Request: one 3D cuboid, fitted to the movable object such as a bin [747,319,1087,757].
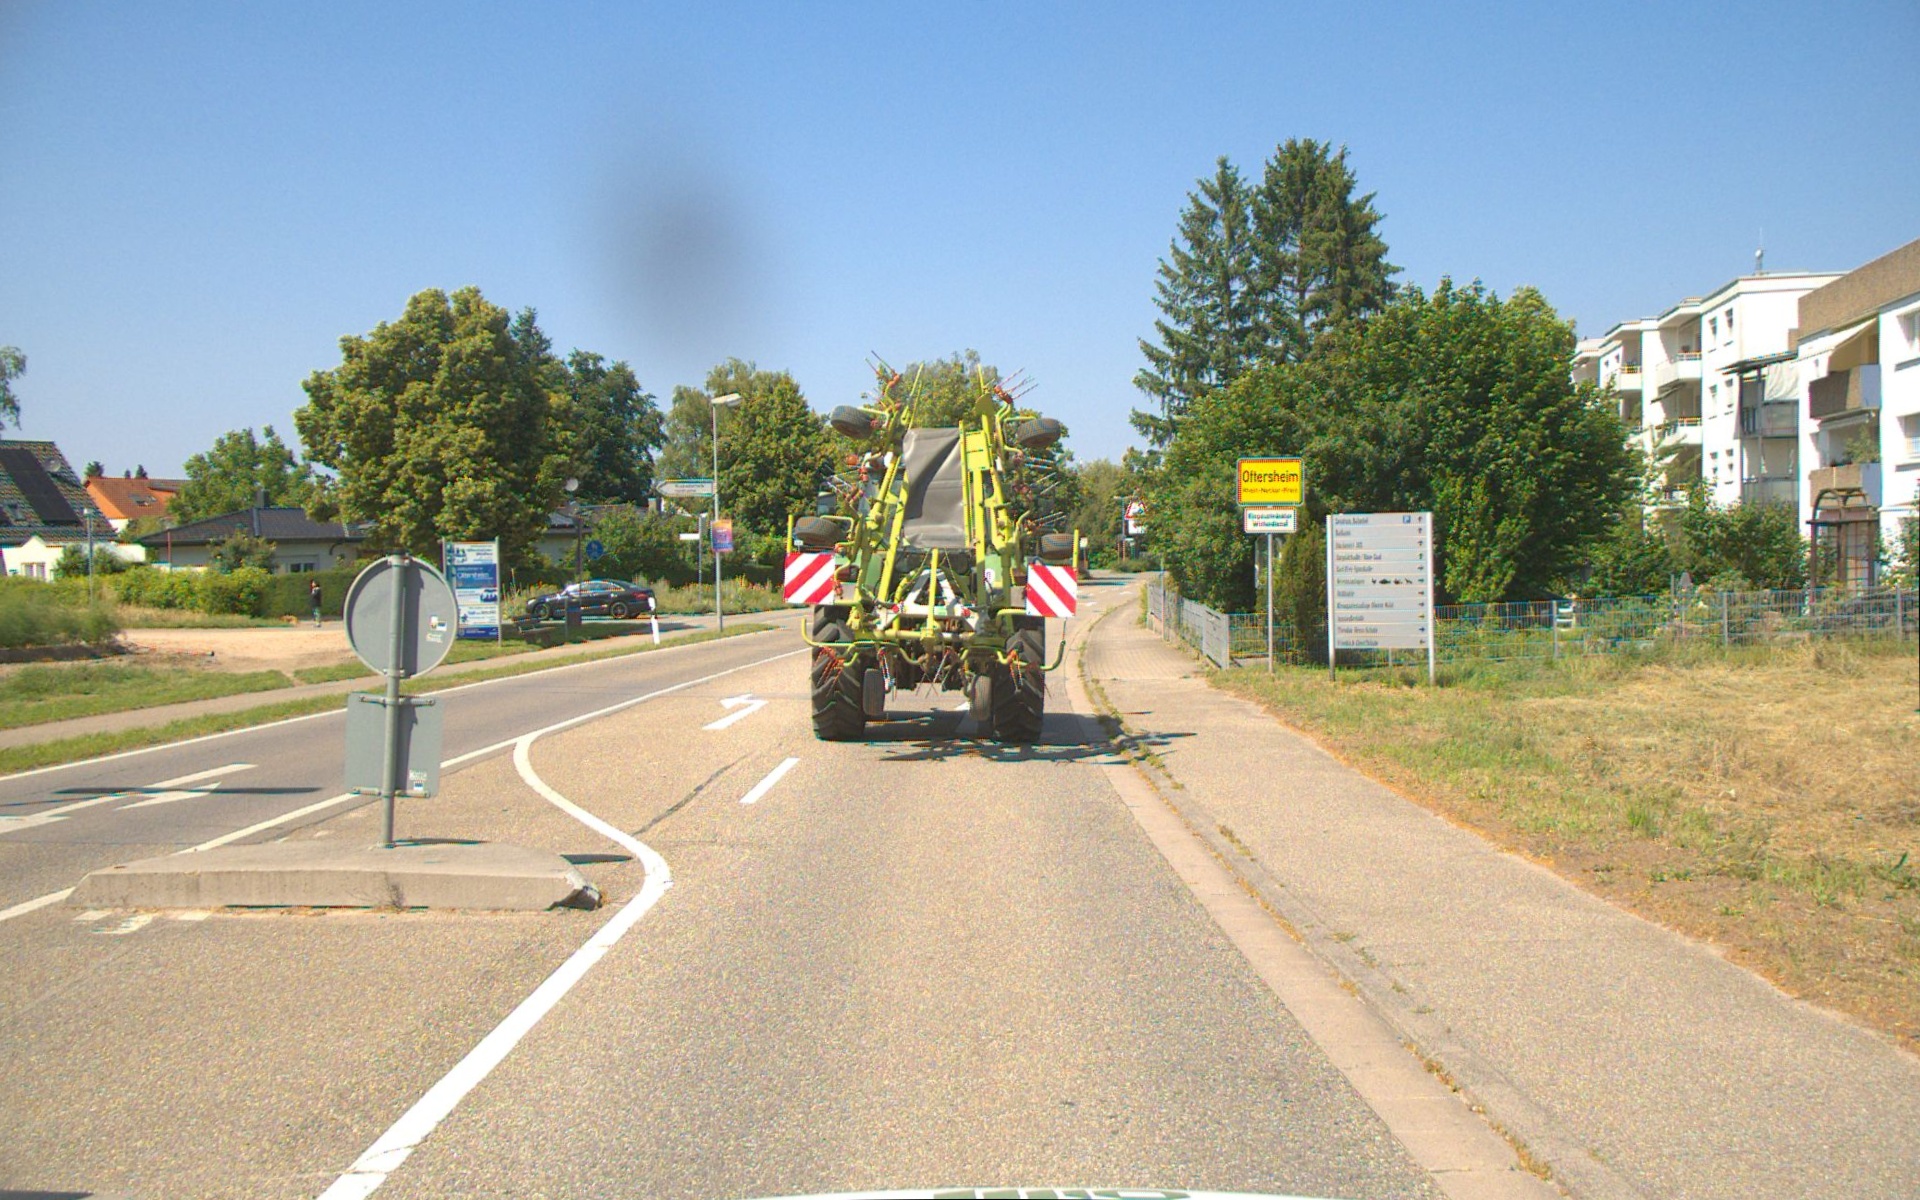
[{"bbox_3d":[-0.289,-0.603,18.487,2.794,3.603,9.702,0,1,1],"label":"movable object such as a bin"}]

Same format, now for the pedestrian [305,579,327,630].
[{"bbox_3d":[-22.636,0.156,58.125,0.666,1.746,0.546,-1,1,-26],"label":"pedestrian"}]

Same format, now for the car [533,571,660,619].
[{"bbox_3d":[-12.769,-0.184,58.287,4.006,1.545,1.999,-2,1,-3],"label":"car"}]
